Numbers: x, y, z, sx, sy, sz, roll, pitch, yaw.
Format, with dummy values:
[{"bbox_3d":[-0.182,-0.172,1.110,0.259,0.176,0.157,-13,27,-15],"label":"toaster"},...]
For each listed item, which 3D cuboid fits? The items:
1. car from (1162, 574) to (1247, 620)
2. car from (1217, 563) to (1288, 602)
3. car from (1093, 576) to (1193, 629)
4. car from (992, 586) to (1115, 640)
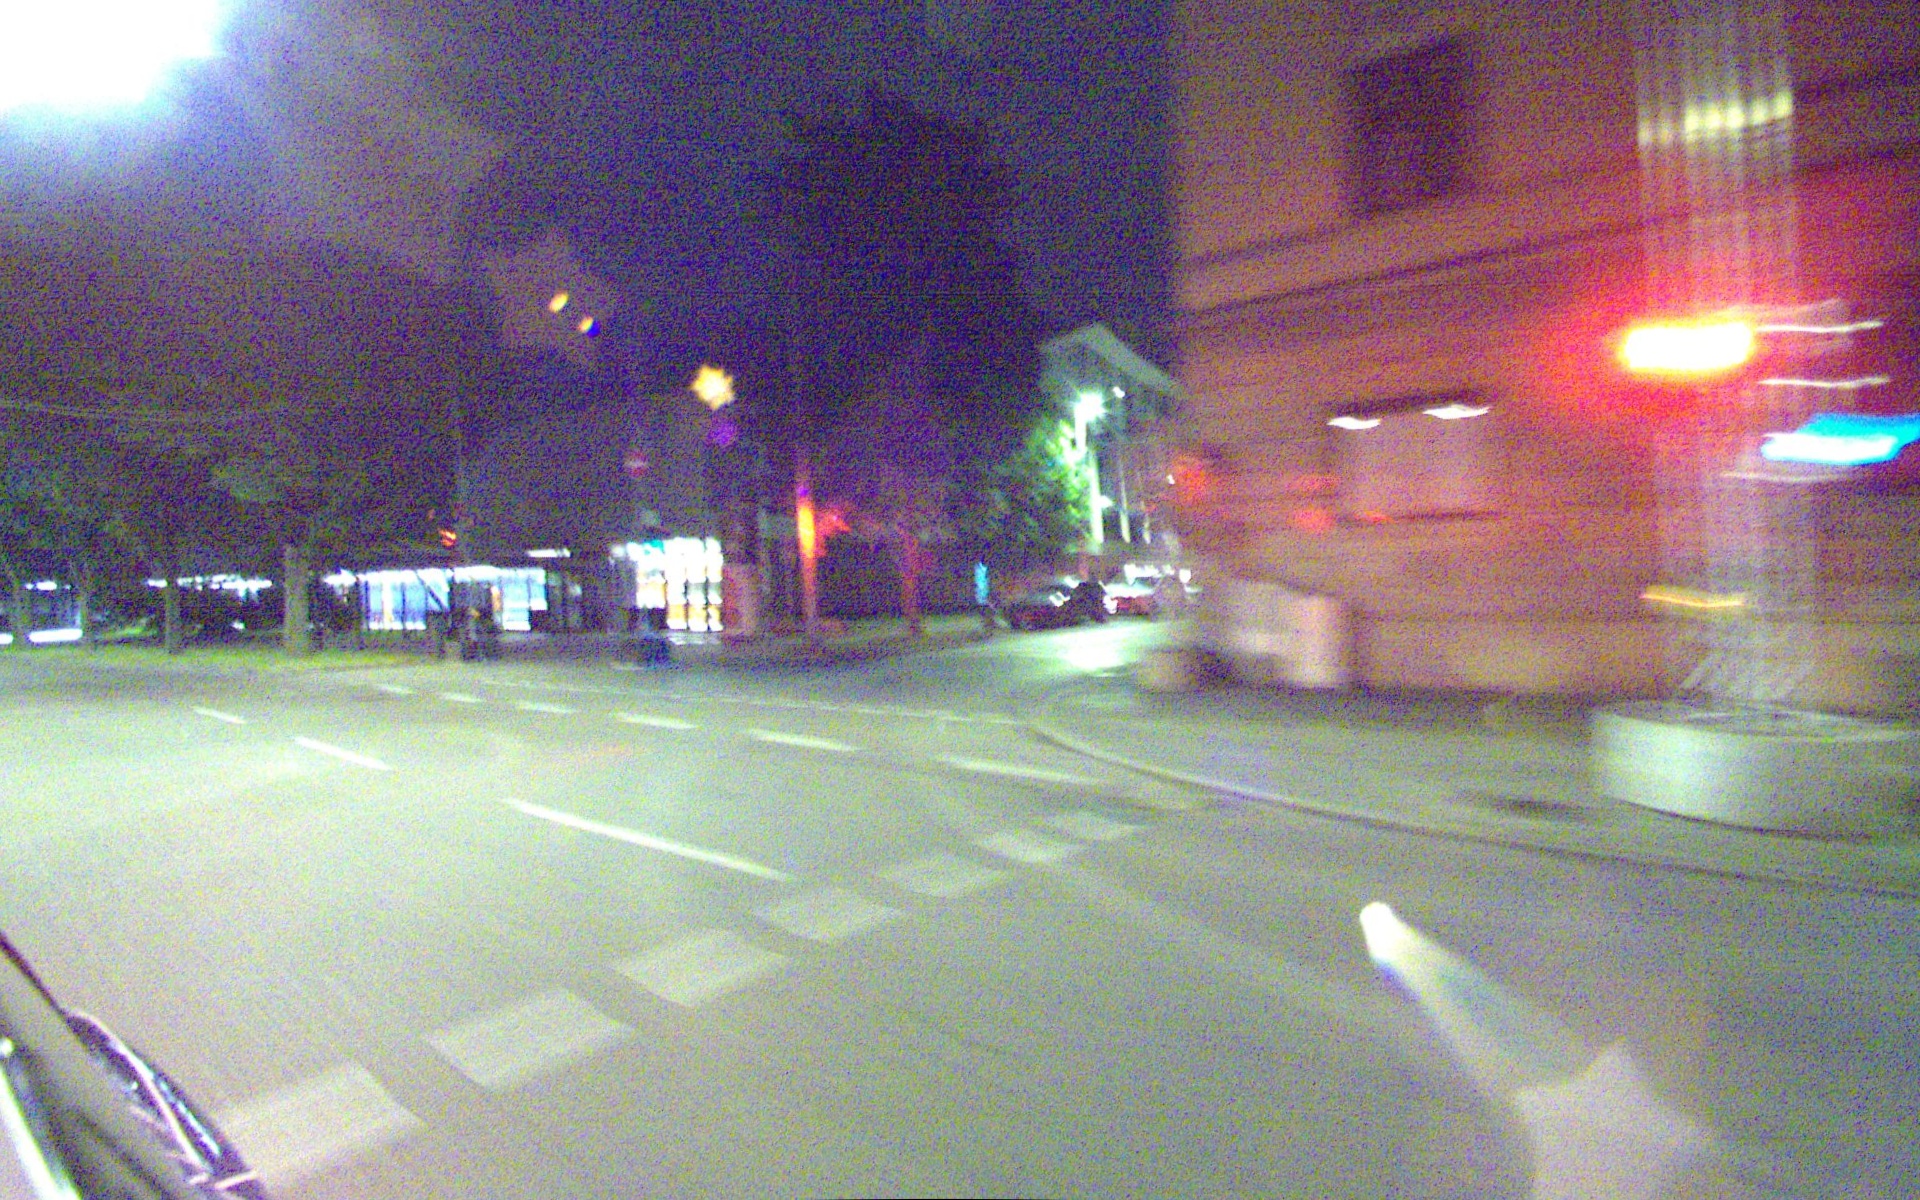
[{"bbox_3d":[10.273,-0.185,42.368,1.890,1.721,4.336,4,4,36],"label":"car"},{"bbox_3d":[14.096,-0.894,48.590,1.890,1.689,4.337,4,4,35],"label":"car"},{"bbox_3d":[6.755,0.018,37.064,1.830,1.689,4.336,4,4,36],"label":"car"},{"bbox_3d":[2.985,0.344,31.622,1.830,1.403,4.336,4,4,36],"label":"car"}]
